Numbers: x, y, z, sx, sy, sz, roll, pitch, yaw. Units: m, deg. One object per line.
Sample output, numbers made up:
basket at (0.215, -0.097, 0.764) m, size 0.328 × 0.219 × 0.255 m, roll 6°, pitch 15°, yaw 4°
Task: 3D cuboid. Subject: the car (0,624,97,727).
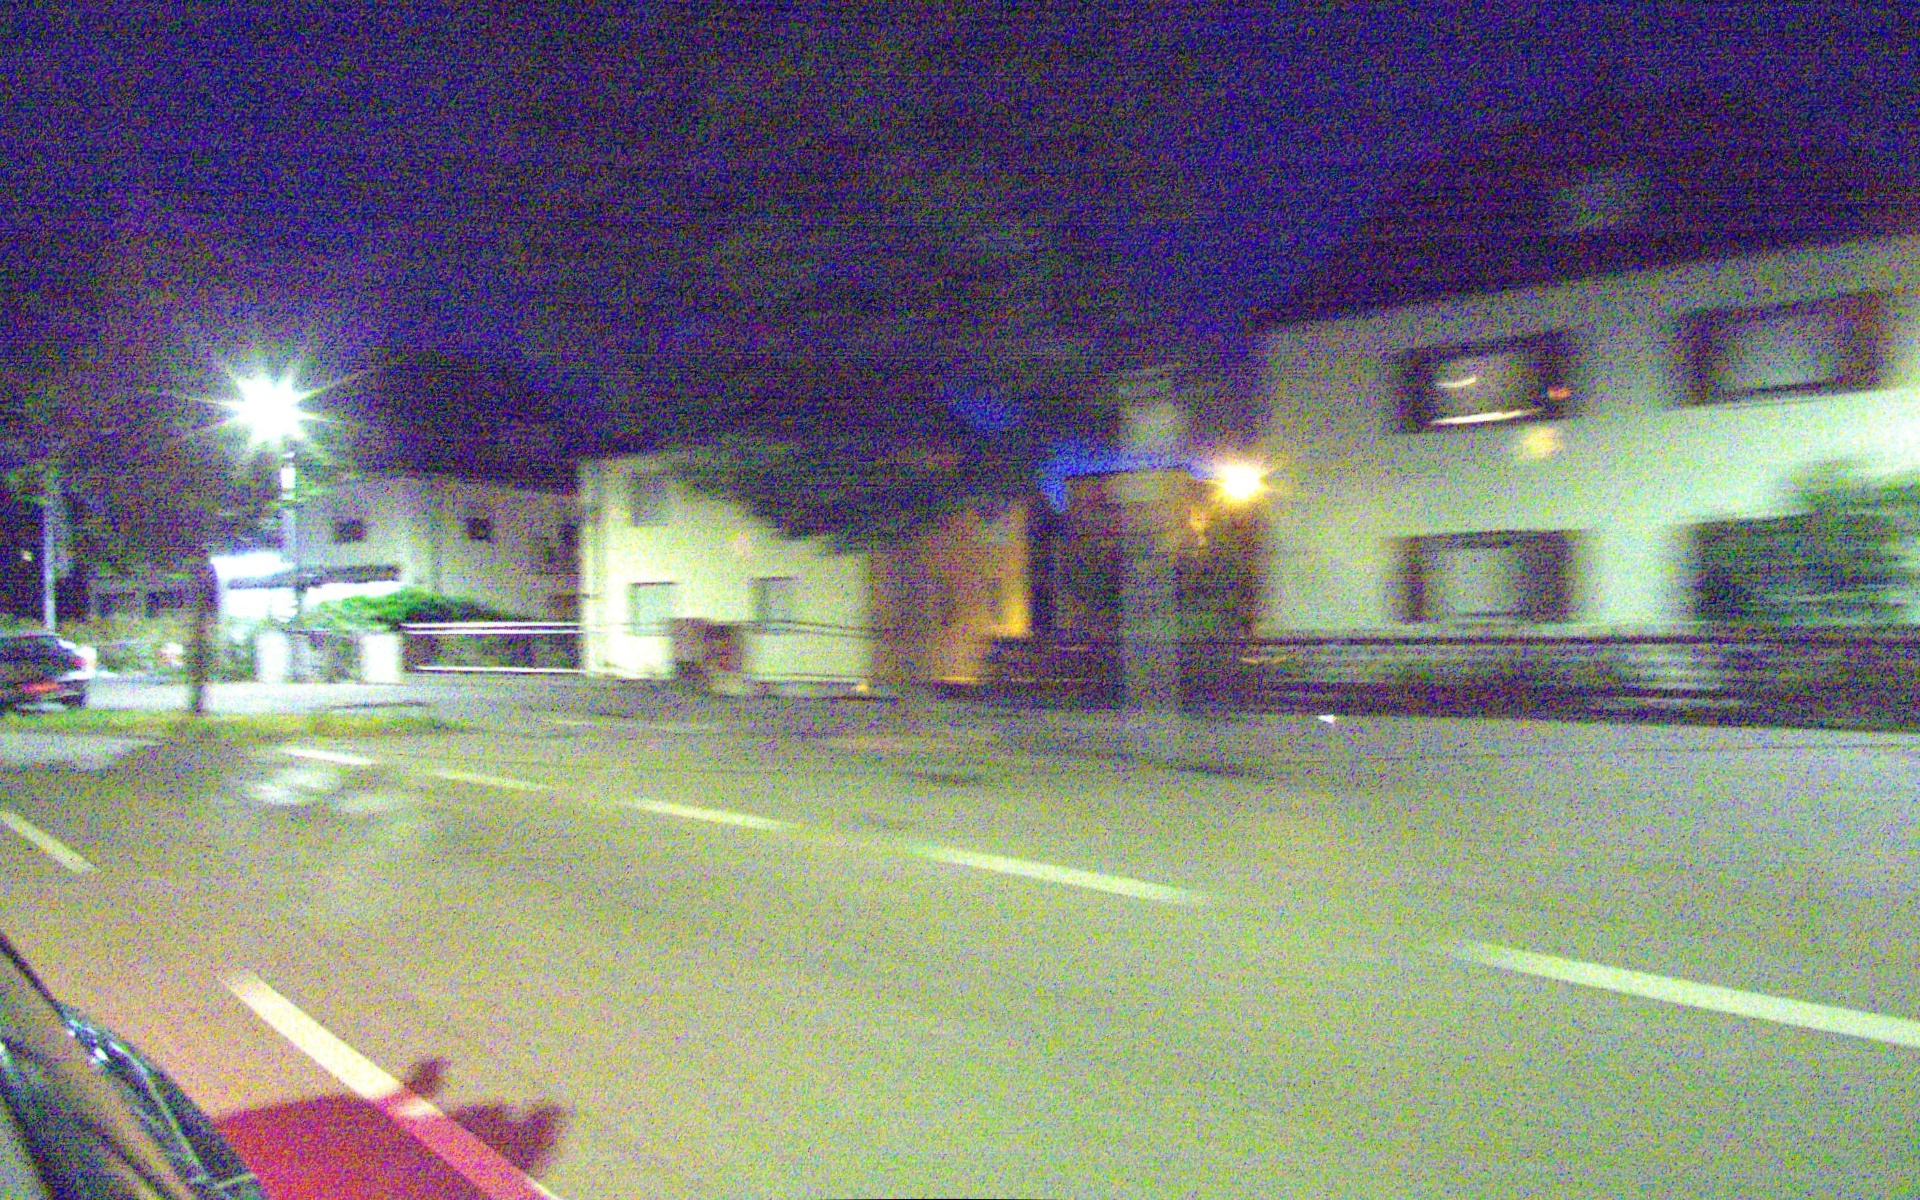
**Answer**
car at (-17.048, 1.307, 17.594) m, size 3.966 × 1.603 × 1.663 m, roll -2°, pitch 0°, yaw 26°
